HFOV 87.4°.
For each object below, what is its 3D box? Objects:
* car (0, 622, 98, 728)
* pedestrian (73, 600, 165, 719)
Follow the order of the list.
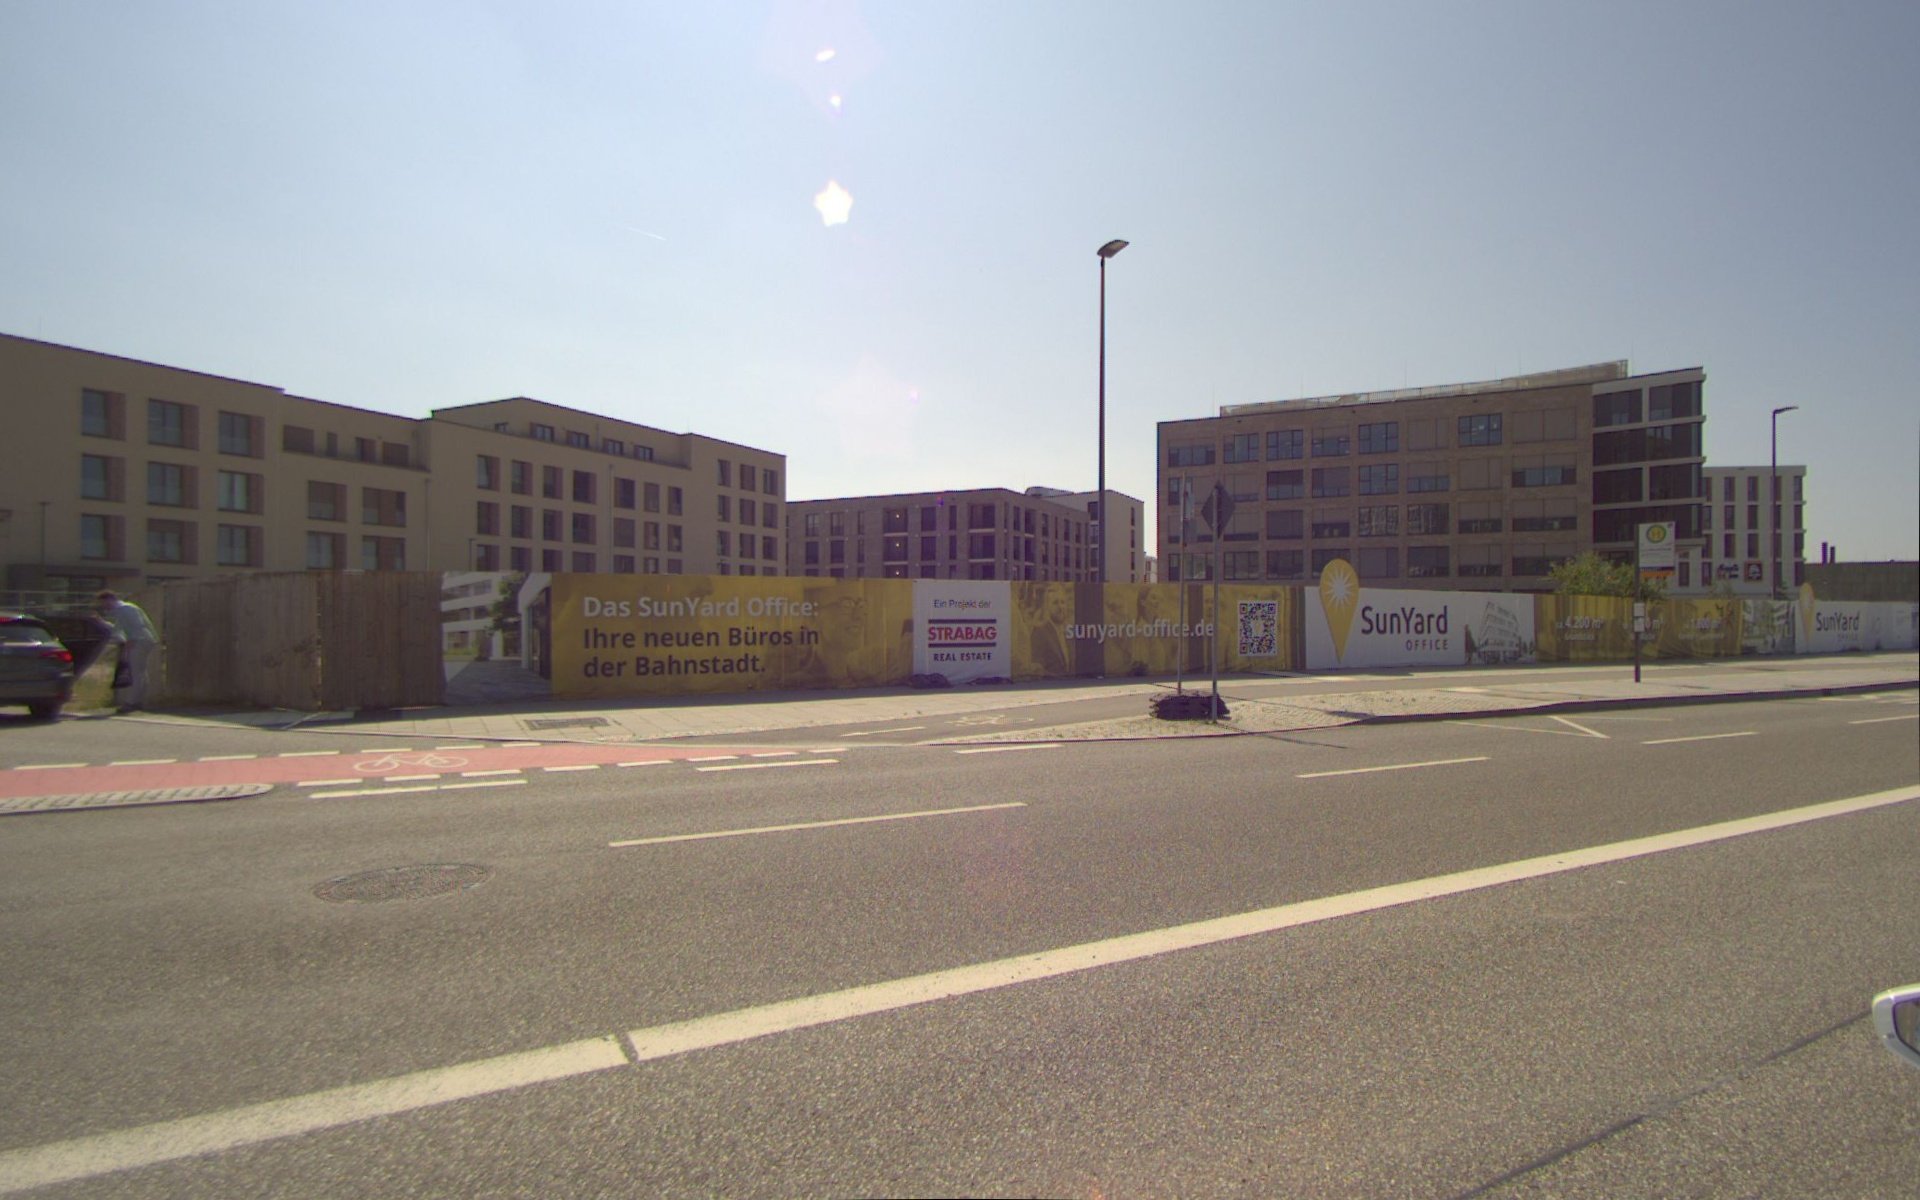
[{"bbox_3d":[-13.994,0.985,13.616,4.168,1.335,1.998,-1,-1,26],"label":"car"},{"bbox_3d":[-12.485,0.867,14.921,0.741,1.706,0.687,2,0,6],"label":"pedestrian"}]
